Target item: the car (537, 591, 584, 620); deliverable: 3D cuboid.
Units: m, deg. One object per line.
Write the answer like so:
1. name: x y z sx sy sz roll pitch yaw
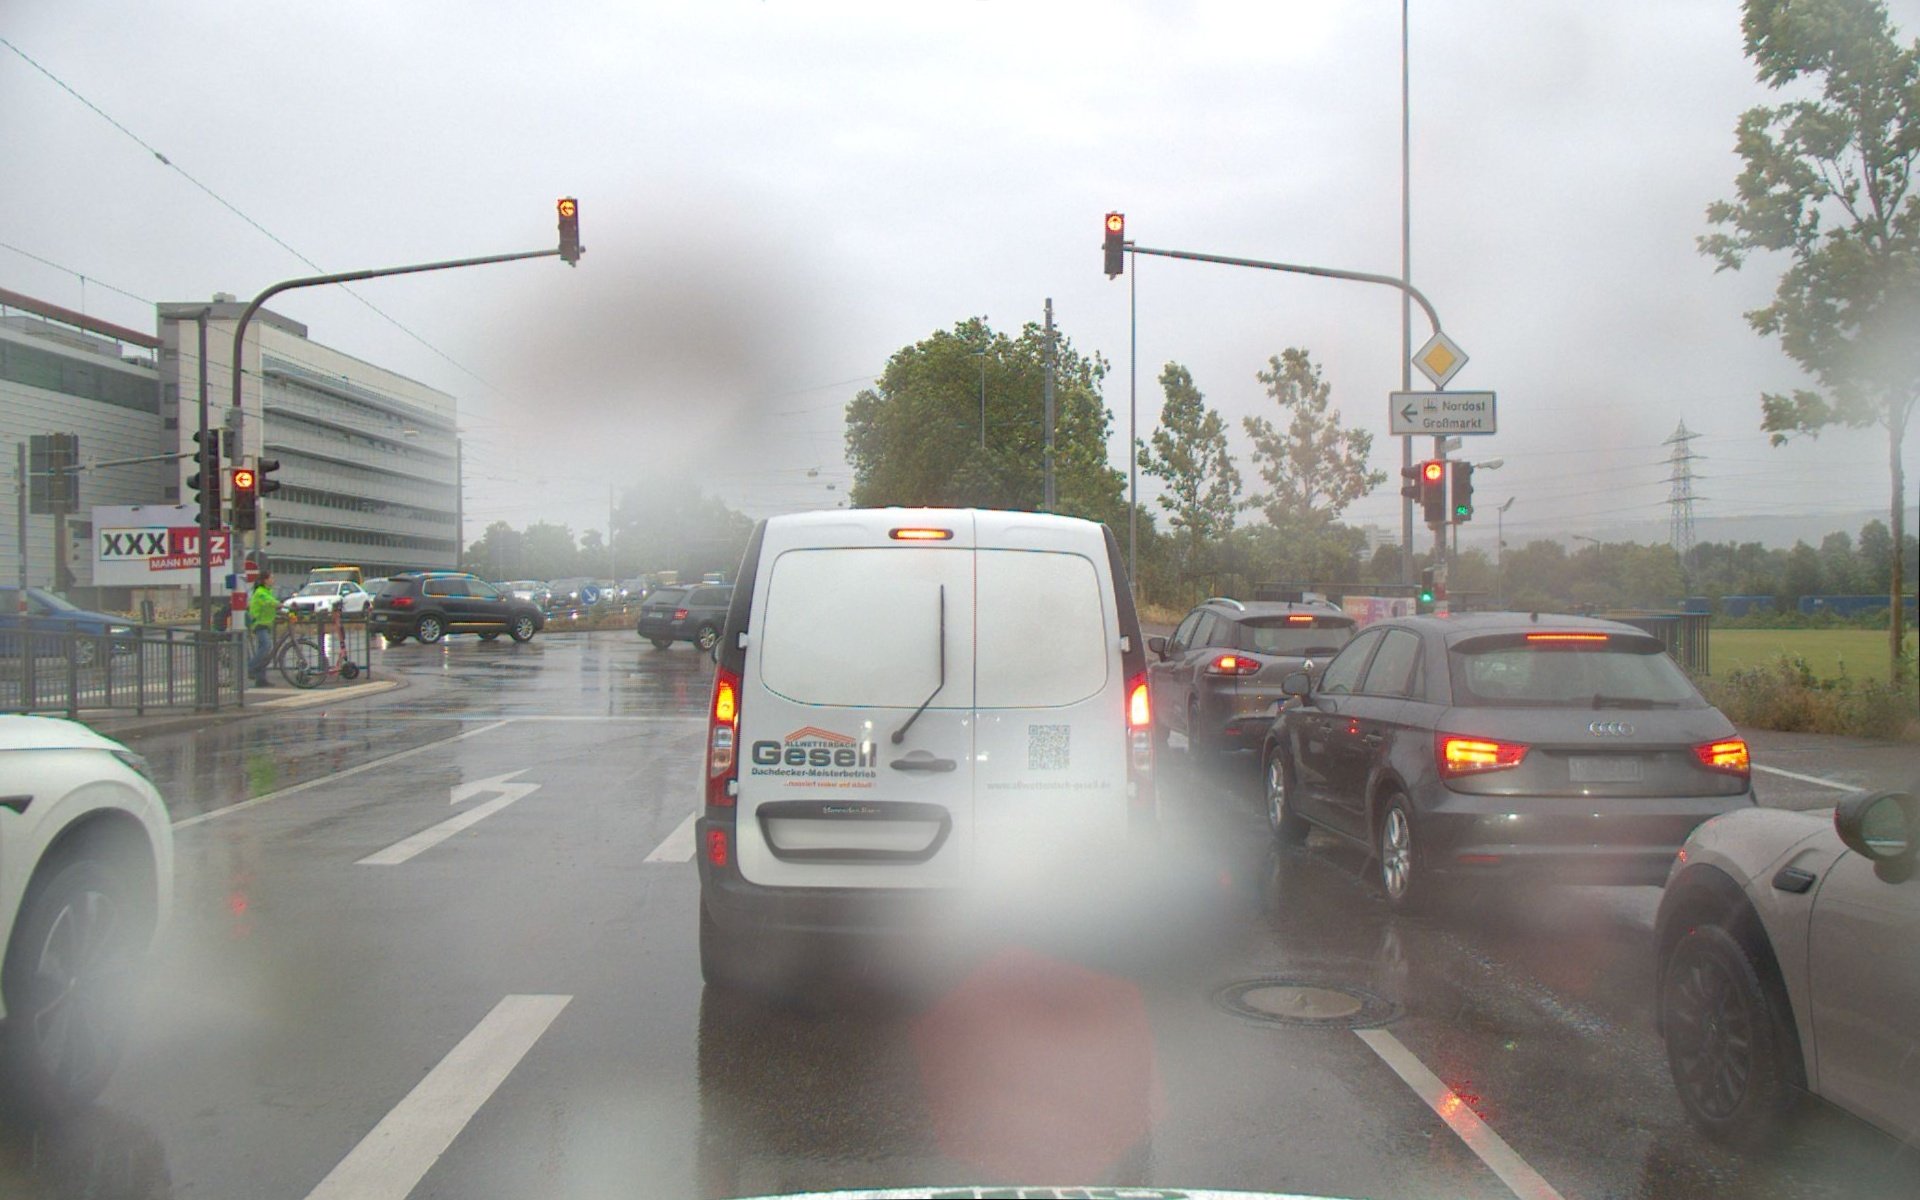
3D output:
1. car: -21.924 0.320 90.861 1.676 1.451 3.808 2 -1 -1

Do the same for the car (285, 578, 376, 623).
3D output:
1. car: -21.575 0.043 56.850 1.676 1.451 3.808 2 -1 -1

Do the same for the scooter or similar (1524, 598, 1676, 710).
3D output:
1. scooter or similar: 7.648 0.597 19.943 0.676 1.232 3.020 0 0 0

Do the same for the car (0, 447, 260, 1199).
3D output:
1. car: -3.217 0.519 3.042 1.891 1.806 4.663 1 0 -1

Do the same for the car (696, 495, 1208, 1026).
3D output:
1. car: -0.167 0.513 7.685 1.719 1.780 4.166 1 1 -4

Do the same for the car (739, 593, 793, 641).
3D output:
1. car: -6.377 0.526 54.290 1.614 1.422 3.449 4 0 -7

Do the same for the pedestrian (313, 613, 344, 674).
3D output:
1. pedestrian: -9.687 0.669 25.371 0.309 0.913 0.380 2 0 -3

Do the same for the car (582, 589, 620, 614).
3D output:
1. car: -21.973 0.094 101.311 1.528 1.451 3.568 2 -1 -1

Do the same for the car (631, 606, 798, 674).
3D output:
1. car: -5.606 0.932 38.108 1.507 1.422 3.778 2 -1 38

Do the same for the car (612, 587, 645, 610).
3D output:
1. car: -22.563 -0.095 112.683 1.528 1.451 3.568 2 -1 -1

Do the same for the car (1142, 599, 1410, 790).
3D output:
1. car: 2.824 0.778 15.578 1.650 1.534 3.919 1 0 -2

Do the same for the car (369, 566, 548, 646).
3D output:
1. car: -12.131 0.163 40.161 1.677 1.703 3.773 3 0 42

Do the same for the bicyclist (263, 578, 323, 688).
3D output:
1. bicyclist: -9.415 0.463 23.351 0.600 1.517 0.591 2 0 -41

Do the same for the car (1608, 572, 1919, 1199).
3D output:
1. car: 2.914 0.749 3.234 1.668 1.534 3.879 3 0 -1

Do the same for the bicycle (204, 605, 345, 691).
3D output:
1. bicycle: -9.586 0.668 23.182 1.745 1.157 0.512 1 0 -43

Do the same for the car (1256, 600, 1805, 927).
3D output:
1. car: 2.804 0.737 8.988 1.565 1.390 3.628 -1 -1 -3

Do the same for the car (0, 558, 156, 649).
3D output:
1. car: -16.837 0.027 30.072 3.669 1.533 1.644 2 0 -15

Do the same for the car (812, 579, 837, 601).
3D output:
1. car: -11.274 -0.825 137.810 1.909 1.691 4.460 2 -1 -4

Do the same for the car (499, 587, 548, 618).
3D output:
1. car: -22.007 0.137 83.552 1.528 1.451 3.568 2 -1 -1
